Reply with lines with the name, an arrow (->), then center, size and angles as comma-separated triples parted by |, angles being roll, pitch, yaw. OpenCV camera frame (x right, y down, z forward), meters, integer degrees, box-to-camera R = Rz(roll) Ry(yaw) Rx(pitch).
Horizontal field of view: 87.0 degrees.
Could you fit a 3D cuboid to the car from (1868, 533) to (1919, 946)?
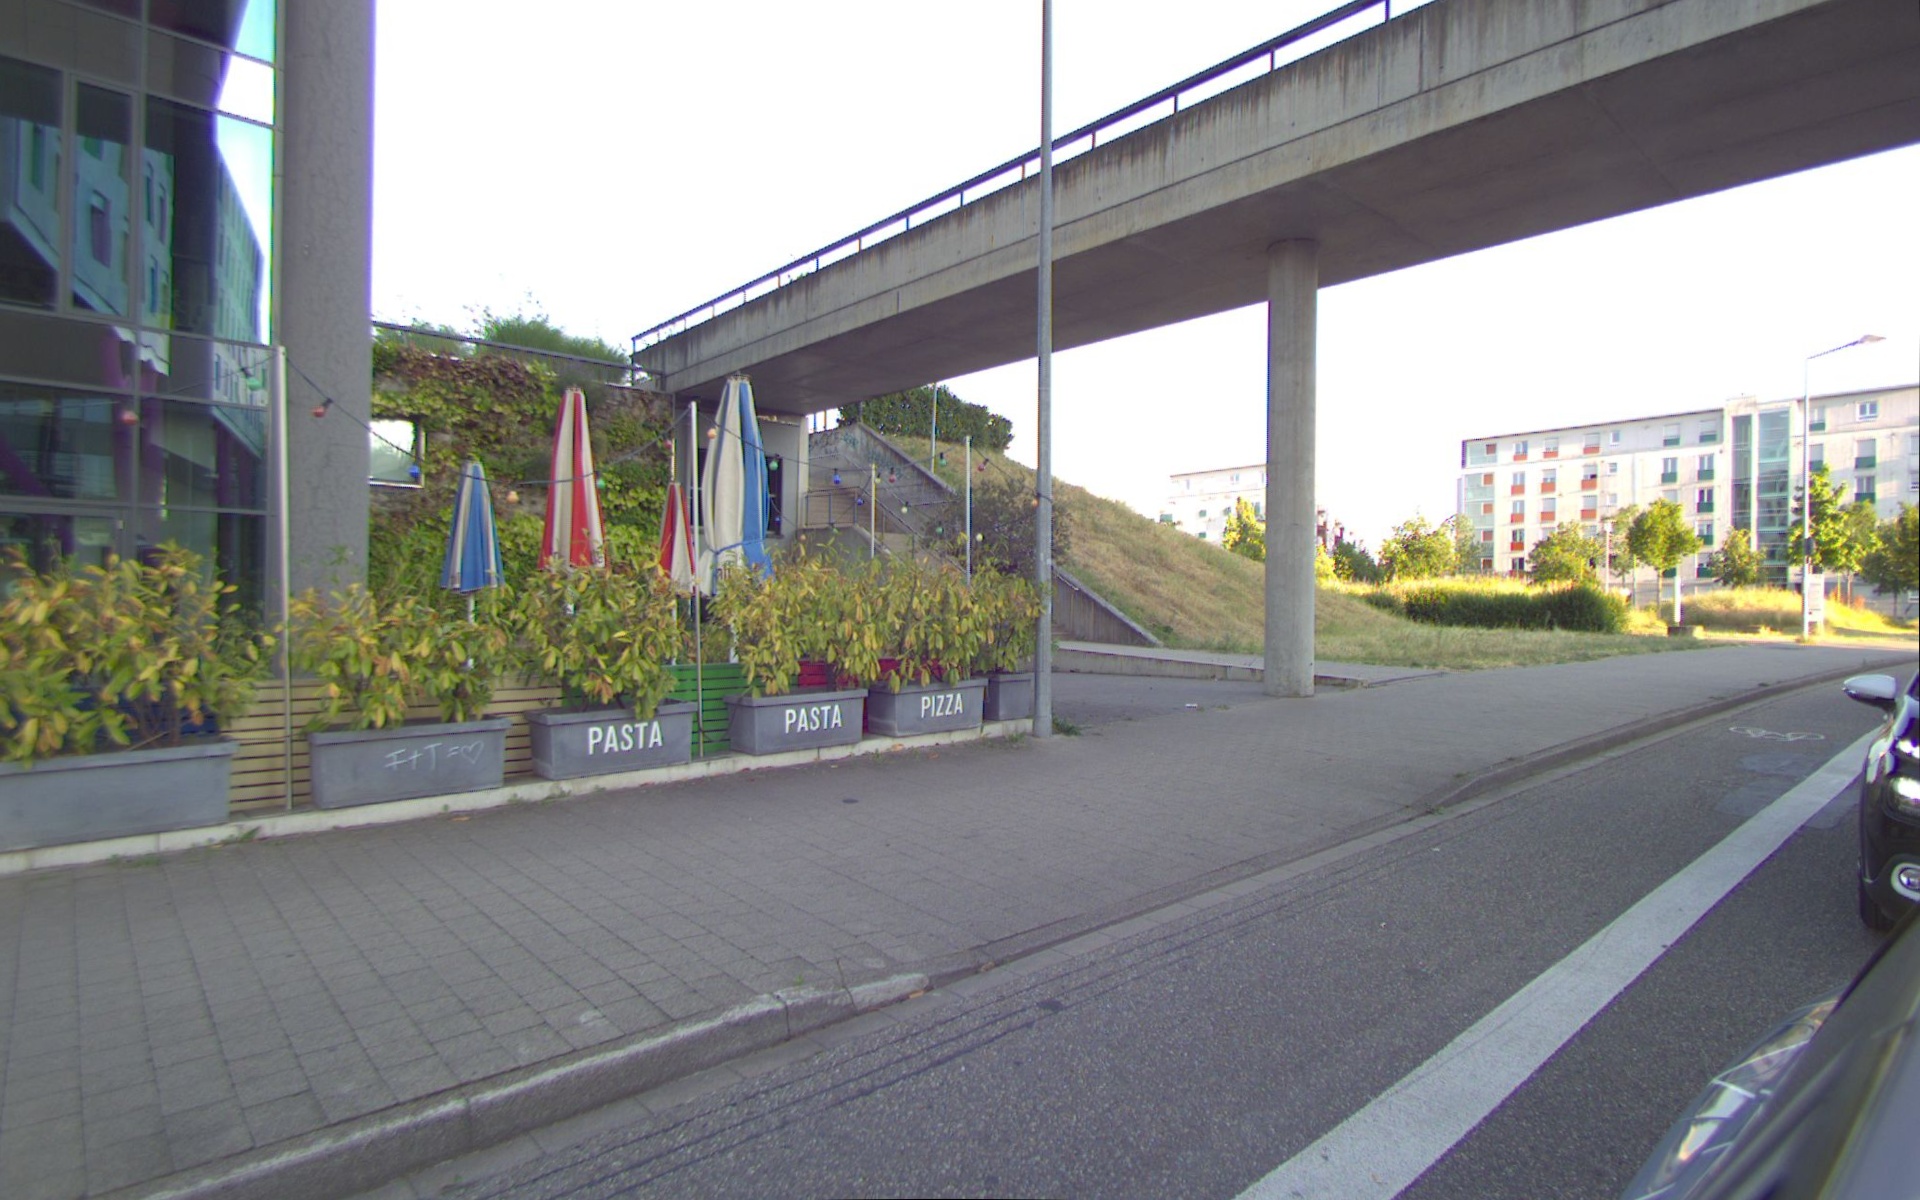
car -> 5.602, 0.544, 4.687 | 4.003, 1.572, 1.757 | 0, 0, -43
